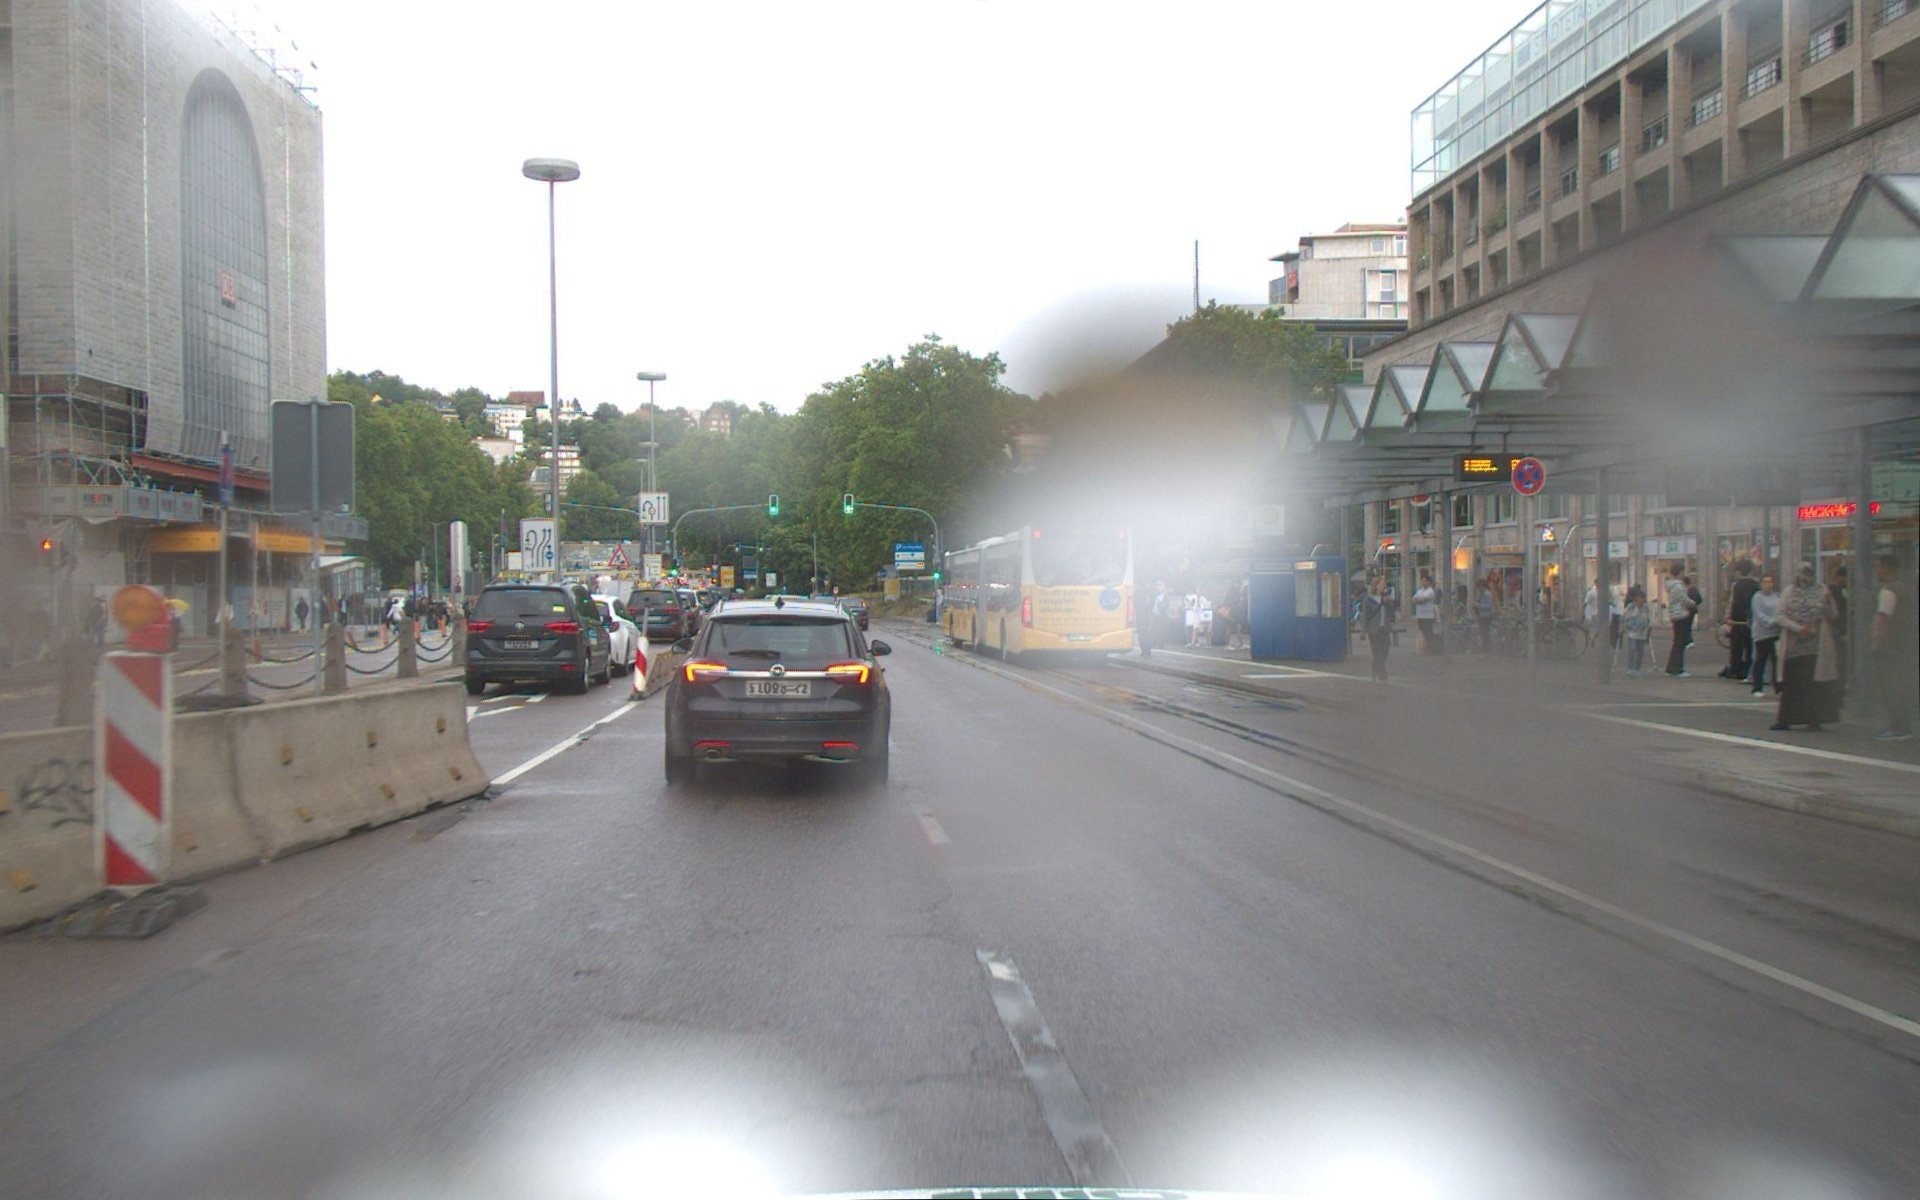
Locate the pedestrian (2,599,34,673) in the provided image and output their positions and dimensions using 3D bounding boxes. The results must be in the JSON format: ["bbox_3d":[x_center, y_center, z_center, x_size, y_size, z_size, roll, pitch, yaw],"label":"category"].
[{"bbox_3d":[-23.940,0.900,42.052,0.498,1.873,0.702,0,0,-11],"label":"pedestrian"}]

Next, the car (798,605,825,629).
[{"bbox_3d":[-11.060,1.222,123.019,1.868,1.747,3.993,1,0,-8],"label":"car"}]

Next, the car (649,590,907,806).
[{"bbox_3d":[-1.455,0.697,14.315,1.840,1.534,4.848,0,0,-4],"label":"car"}]

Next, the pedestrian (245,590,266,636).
[{"bbox_3d":[-29.430,0.536,69.099,0.759,1.873,0.830,0,0,-19],"label":"pedestrian"}]

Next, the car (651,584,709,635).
[{"bbox_3d":[-10.502,0.353,62.227,1.956,1.818,4.447,-1,0,-7],"label":"car"}]

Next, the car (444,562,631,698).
[{"bbox_3d":[-6.468,0.419,25.872,1.954,1.895,4.829,-1,0,-4],"label":"car"}]

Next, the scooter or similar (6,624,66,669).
[{"bbox_3d":[-22.744,1.137,40.730,0.450,1.084,1.238,0,0,29],"label":"scooter or similar"}]

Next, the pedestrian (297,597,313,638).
[{"bbox_3d":[-29.874,0.779,75.414,0.525,1.873,0.770,0,0,-8],"label":"pedestrian"}]

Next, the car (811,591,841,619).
[{"bbox_3d":[-7.837,0.315,96.453,1.642,1.609,3.235,1,0,-6],"label":"car"}]

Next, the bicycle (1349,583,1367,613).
[{"bbox_3d":[22.887,-0.115,95.079,0.603,1.662,1.996,0,0,2],"label":"bicycle"}]

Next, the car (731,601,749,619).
[{"bbox_3d":[-21.877,0.975,164.091,1.674,1.694,3.698,1,0,-9],"label":"car"}]

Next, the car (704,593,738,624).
[{"bbox_3d":[-14.608,0.517,100.967,1.957,1.877,5.051,1,0,-9],"label":"car"}]

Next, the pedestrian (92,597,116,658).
[{"bbox_3d":[-26.828,0.854,51.823,0.562,1.873,0.700,0,0,-19],"label":"pedestrian"}]

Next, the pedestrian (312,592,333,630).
[{"bbox_3d":[-31.436,0.544,81.579,0.764,1.873,0.770,-1,0,-6],"label":"pedestrian"}]

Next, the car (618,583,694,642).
[{"bbox_3d":[-9.271,0.356,50.794,1.955,1.683,4.635,-1,0,-7],"label":"car"}]

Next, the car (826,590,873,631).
[{"bbox_3d":[-4.896,0.474,73.095,1.817,1.747,3.993,1,0,-8],"label":"car"}]

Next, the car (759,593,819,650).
[{"bbox_3d":[-5.428,0.639,52.281,1.795,1.715,4.128,-1,0,-6],"label":"car"}]

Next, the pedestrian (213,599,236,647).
[{"bbox_3d":[-26.613,0.810,59.843,0.671,1.715,0.834,0,0,-19],"label":"pedestrian"}]

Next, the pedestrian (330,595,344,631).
[{"bbox_3d":[-32.761,0.681,86.946,0.664,1.873,0.716,0,0,-19],"label":"pedestrian"}]

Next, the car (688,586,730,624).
[{"bbox_3d":[-12.068,0.229,79.702,1.752,1.715,4.661,-1,0,-6],"label":"car"}]

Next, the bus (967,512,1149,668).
[{"bbox_3d":[2.130,-0.185,39.904,3.080,3.304,9.125,1,0,-5],"label":"bus"}]

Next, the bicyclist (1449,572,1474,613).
[{"bbox_3d":[19.572,-0.304,64.598,0.637,1.581,0.907,-1,0,-4],"label":"bicyclist"}]

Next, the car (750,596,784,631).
[{"bbox_3d":[-11.899,0.830,101.838,1.947,2.049,4.360,1,0,-9],"label":"car"}]

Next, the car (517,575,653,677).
[{"bbox_3d":[-6.934,0.445,31.044,1.955,1.736,4.825,-1,0,-7],"label":"car"}]

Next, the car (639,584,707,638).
[{"bbox_3d":[-9.874,0.361,57.190,2.010,1.741,5.047,-1,0,-7],"label":"car"}]

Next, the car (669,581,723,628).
[{"bbox_3d":[-10.807,0.168,68.028,1.955,1.818,4.841,-1,0,-7],"label":"car"}]

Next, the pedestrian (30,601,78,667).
[{"bbox_3d":[-26.410,0.980,48.241,0.822,1.873,1.058,0,0,-2],"label":"pedestrian"}]

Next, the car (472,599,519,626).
[{"bbox_3d":[-26.970,0.727,96.153,1.955,1.493,3.995,1,0,-5],"label":"car"}]

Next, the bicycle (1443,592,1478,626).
[{"bbox_3d":[19.580,0.346,64.741,0.646,1.277,2.012,0,0,-4],"label":"bicycle"}]

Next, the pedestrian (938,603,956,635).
[{"bbox_3d":[-0.714,1.029,89.969,0.858,1.720,0.757,-1,0,-6],"label":"pedestrian"}]

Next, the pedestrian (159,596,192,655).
[{"bbox_3d":[-24.956,0.806,52.636,0.862,1.873,0.834,0,0,-19],"label":"pedestrian"}]

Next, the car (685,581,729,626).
[{"bbox_3d":[-11.242,0.136,73.662,1.680,1.925,4.604,-1,0,-6],"label":"car"}]

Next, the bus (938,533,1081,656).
[{"bbox_3d":[1.282,-0.111,49.023,3.053,3.261,9.230,1,0,-6],"label":"bus"}]
